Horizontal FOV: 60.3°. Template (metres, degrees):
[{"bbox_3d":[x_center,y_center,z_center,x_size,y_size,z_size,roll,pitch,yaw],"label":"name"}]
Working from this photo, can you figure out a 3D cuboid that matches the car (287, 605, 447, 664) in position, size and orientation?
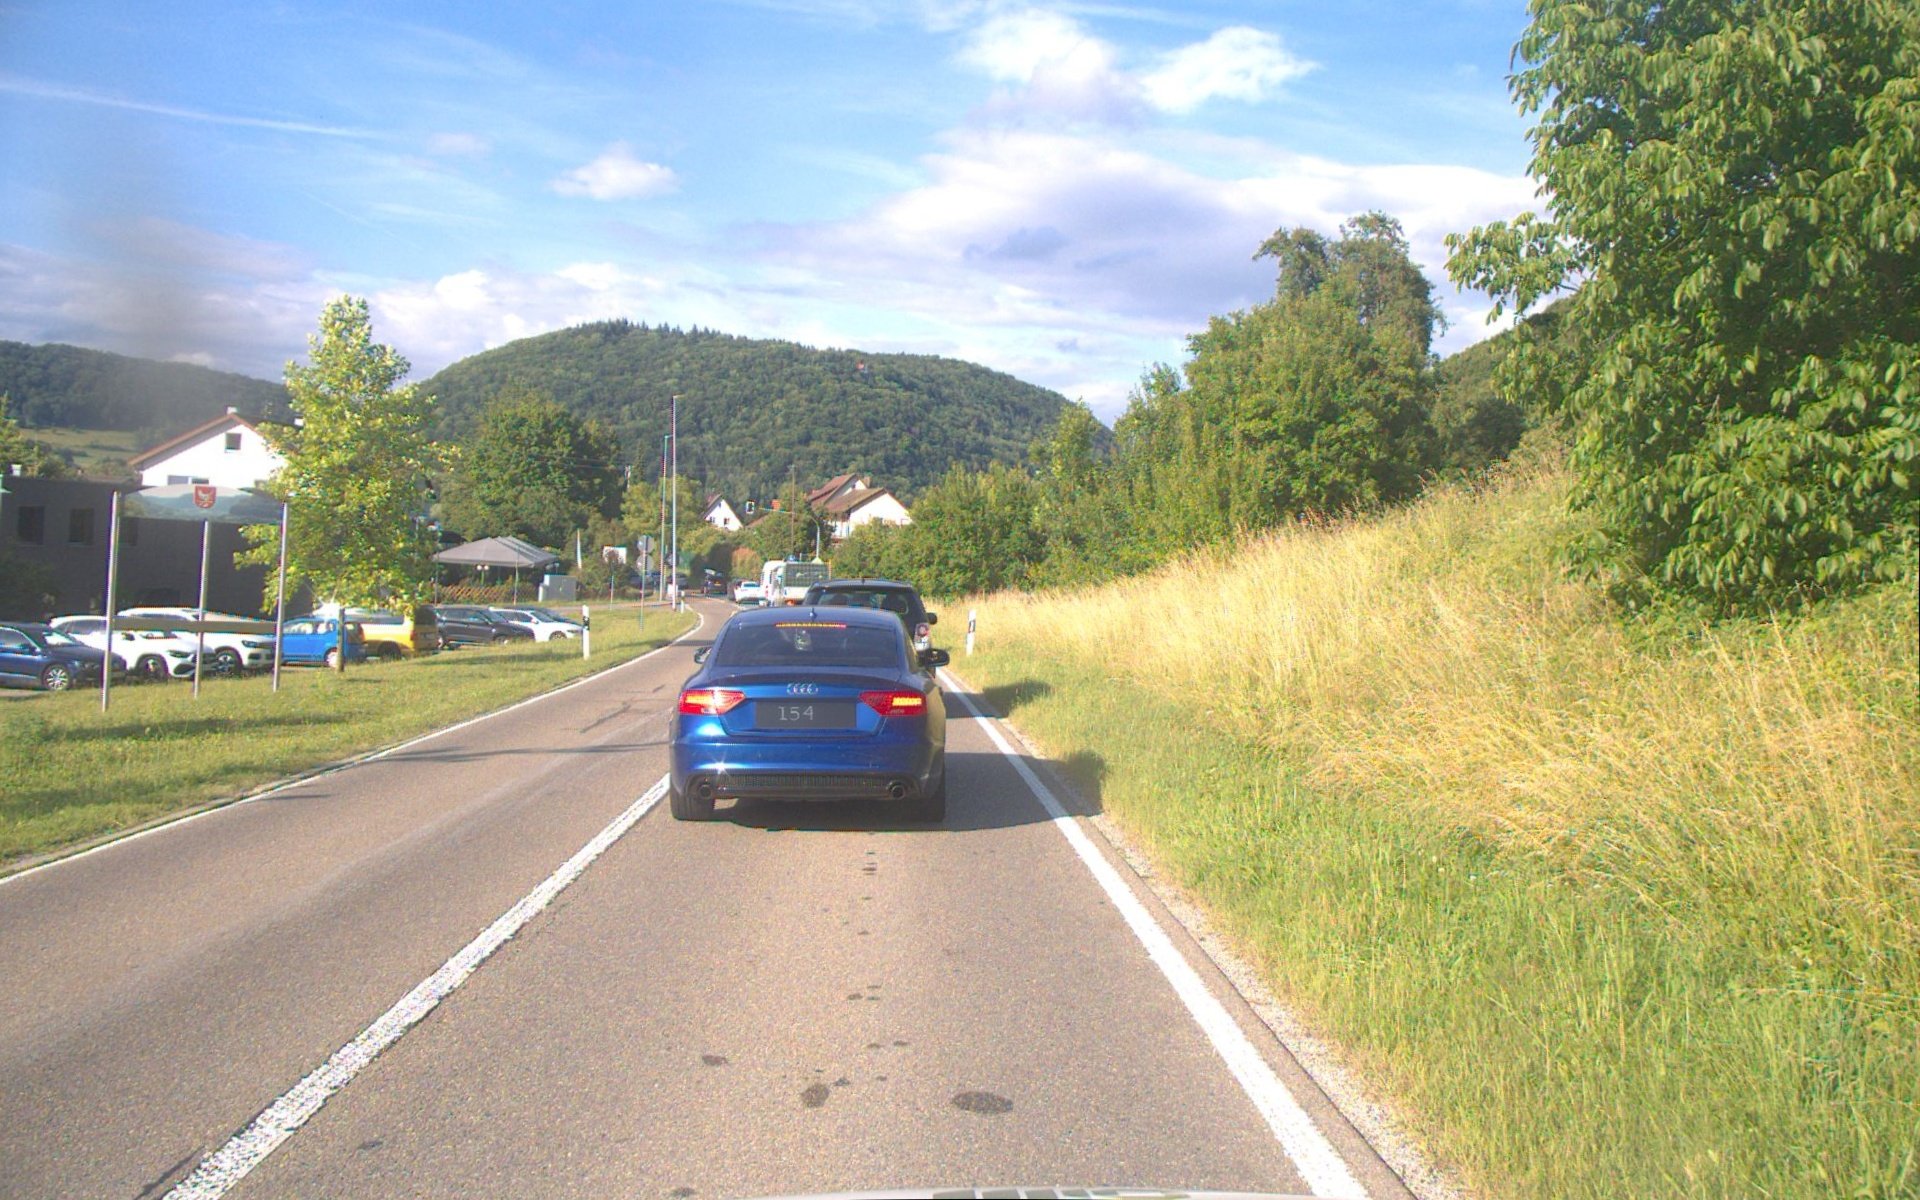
[{"bbox_3d":[-18.987,1.084,53.033,4.456,1.846,1.842,0,0,8],"label":"car"}]

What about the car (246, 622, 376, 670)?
[{"bbox_3d":[-19.779,1.393,50.468,3.300,1.397,1.660,0,0,0],"label":"car"}]

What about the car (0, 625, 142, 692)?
[{"bbox_3d":[-20.894,1.316,37.892,3.547,1.429,1.598,0,1,8],"label":"car"}]

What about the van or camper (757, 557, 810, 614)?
[{"bbox_3d":[-8.848,-0.696,82.601,2.239,2.761,5.753,0,0,-10],"label":"van or camper"}]

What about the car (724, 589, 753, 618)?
[{"bbox_3d":[-15.325,0.262,114.356,1.630,1.958,3.988,0,0,-12],"label":"car"}]

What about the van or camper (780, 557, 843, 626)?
[{"bbox_3d":[-5.805,-0.312,63.999,2.014,2.549,5.799,0,0,-9],"label":"van or camper"}]

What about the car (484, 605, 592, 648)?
[{"bbox_3d":[-17.205,1.072,67.511,3.949,1.689,1.657,0,0,8],"label":"car"}]

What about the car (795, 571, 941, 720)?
[{"bbox_3d":[-1.170,0.514,20.635,1.613,1.653,3.514,2,0,-4],"label":"car"}]

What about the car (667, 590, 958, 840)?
[{"bbox_3d":[-0.979,0.686,11.587,1.708,1.476,3.514,1,0,-4],"label":"car"}]

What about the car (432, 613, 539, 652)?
[{"bbox_3d":[-18.067,1.223,63.029,3.633,1.465,1.510,0,0,8],"label":"car"}]

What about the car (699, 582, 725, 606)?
[{"bbox_3d":[-20.665,-0.471,137.825,1.649,1.958,3.983,0,0,-15],"label":"car"}]

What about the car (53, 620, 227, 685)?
[{"bbox_3d":[-20.366,1.290,41.124,3.588,1.520,1.598,0,1,8],"label":"car"}]

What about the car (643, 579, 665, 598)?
[{"bbox_3d":[-31.504,-1.167,170.083,1.652,1.958,3.977,0,0,-19],"label":"car"}]

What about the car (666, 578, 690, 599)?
[{"bbox_3d":[-26.658,-1.050,156.210,1.651,1.958,3.979,0,0,-18],"label":"car"}]

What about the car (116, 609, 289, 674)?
[{"bbox_3d":[-20.320,1.108,44.445,3.990,1.702,1.598,0,0,8],"label":"car"}]

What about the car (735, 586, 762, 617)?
[{"bbox_3d":[-13.575,0.080,106.063,1.629,1.958,3.991,0,0,-9],"label":"car"}]
